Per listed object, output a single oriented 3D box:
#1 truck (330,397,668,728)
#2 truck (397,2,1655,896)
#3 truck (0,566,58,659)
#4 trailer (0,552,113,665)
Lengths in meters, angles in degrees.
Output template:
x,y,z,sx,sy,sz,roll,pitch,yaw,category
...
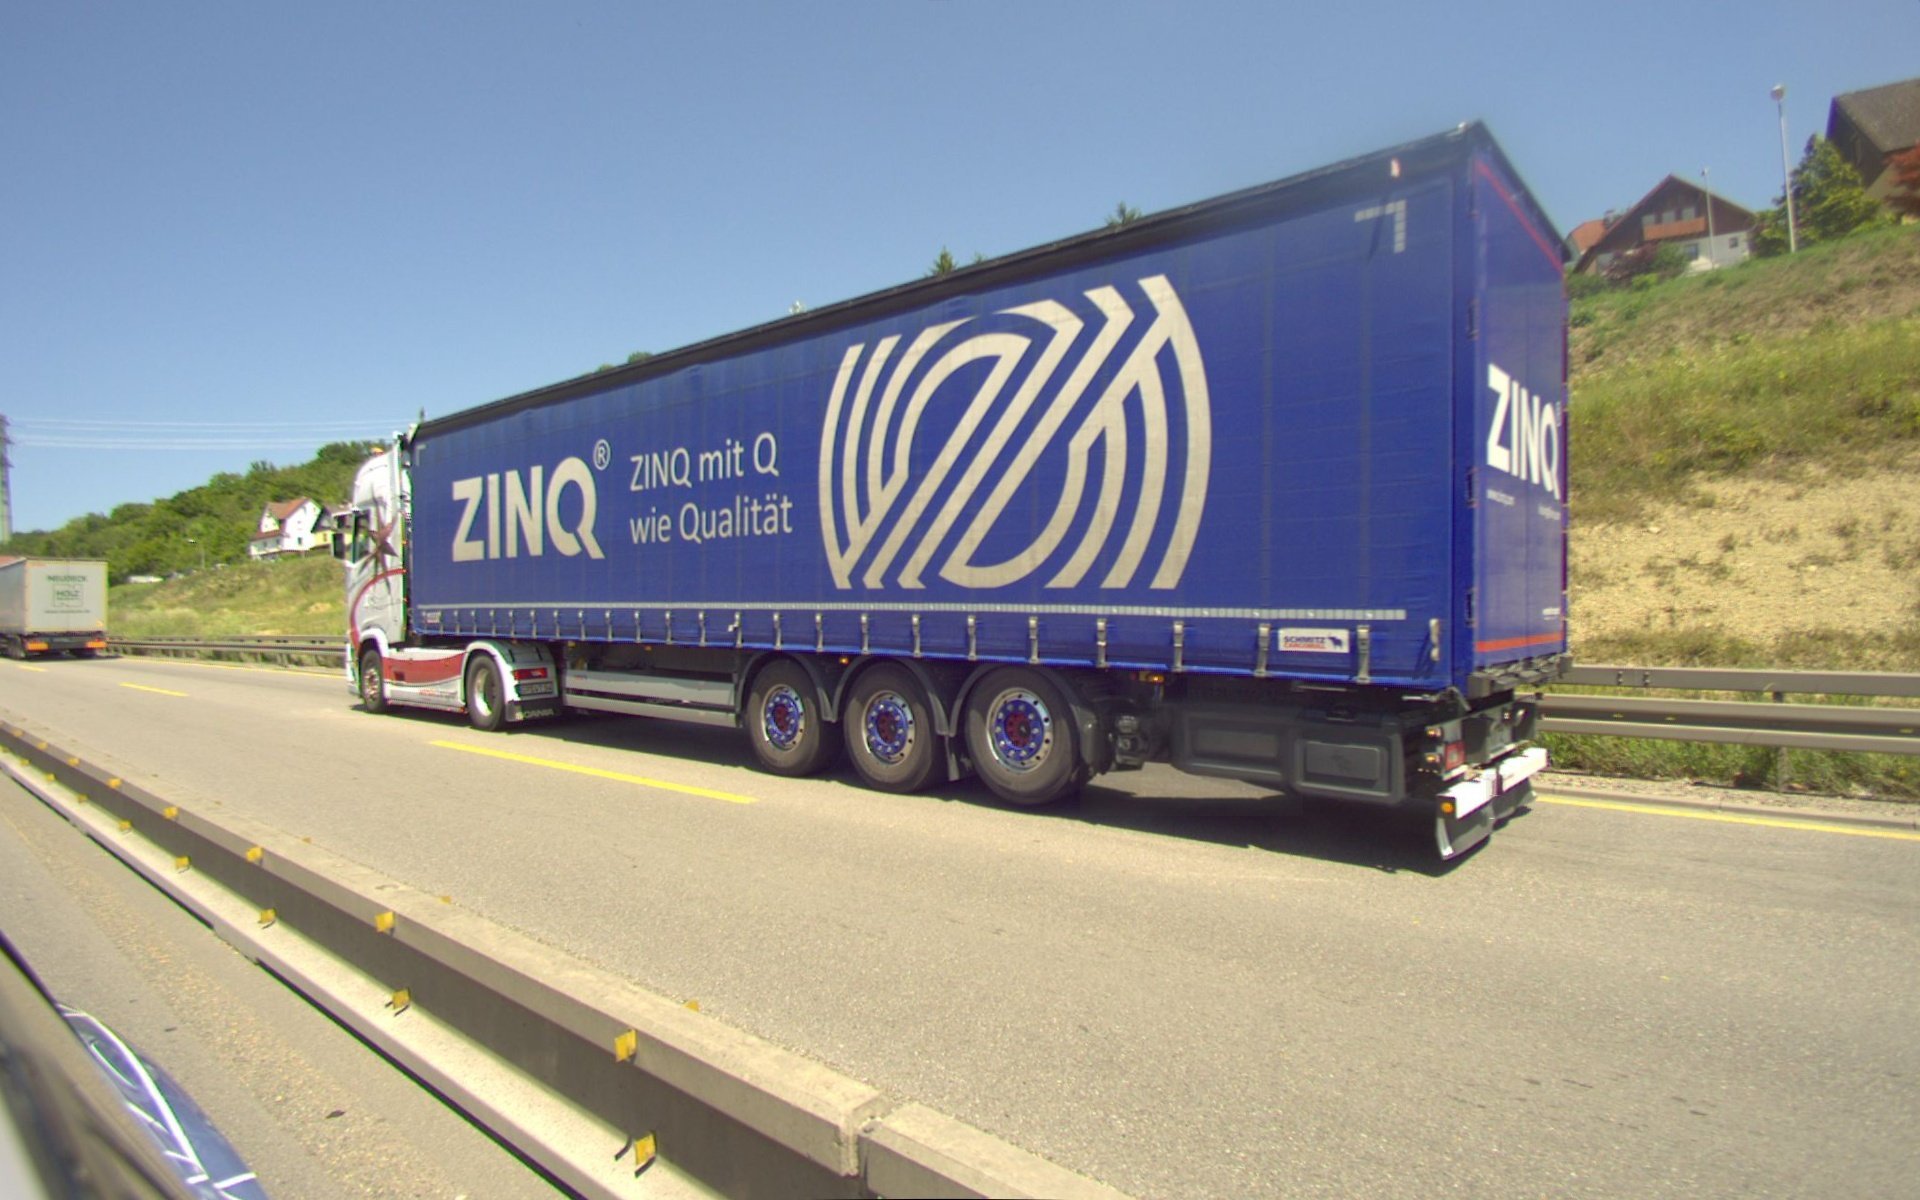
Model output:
x,y,z,sx,sy,sz,roll,pitch,yaw,category
-7.059,-0.449,15.423,4.245,4.191,3.206,-1,-1,41,truck
-1.417,-0.594,10.545,13.970,4.191,3.210,-1,-1,41,truck
-46.031,0.623,49.127,4.673,4.319,2.746,-2,-1,41,truck
-40.122,0.464,44.034,14.026,4.319,2.782,-2,-1,41,trailer
